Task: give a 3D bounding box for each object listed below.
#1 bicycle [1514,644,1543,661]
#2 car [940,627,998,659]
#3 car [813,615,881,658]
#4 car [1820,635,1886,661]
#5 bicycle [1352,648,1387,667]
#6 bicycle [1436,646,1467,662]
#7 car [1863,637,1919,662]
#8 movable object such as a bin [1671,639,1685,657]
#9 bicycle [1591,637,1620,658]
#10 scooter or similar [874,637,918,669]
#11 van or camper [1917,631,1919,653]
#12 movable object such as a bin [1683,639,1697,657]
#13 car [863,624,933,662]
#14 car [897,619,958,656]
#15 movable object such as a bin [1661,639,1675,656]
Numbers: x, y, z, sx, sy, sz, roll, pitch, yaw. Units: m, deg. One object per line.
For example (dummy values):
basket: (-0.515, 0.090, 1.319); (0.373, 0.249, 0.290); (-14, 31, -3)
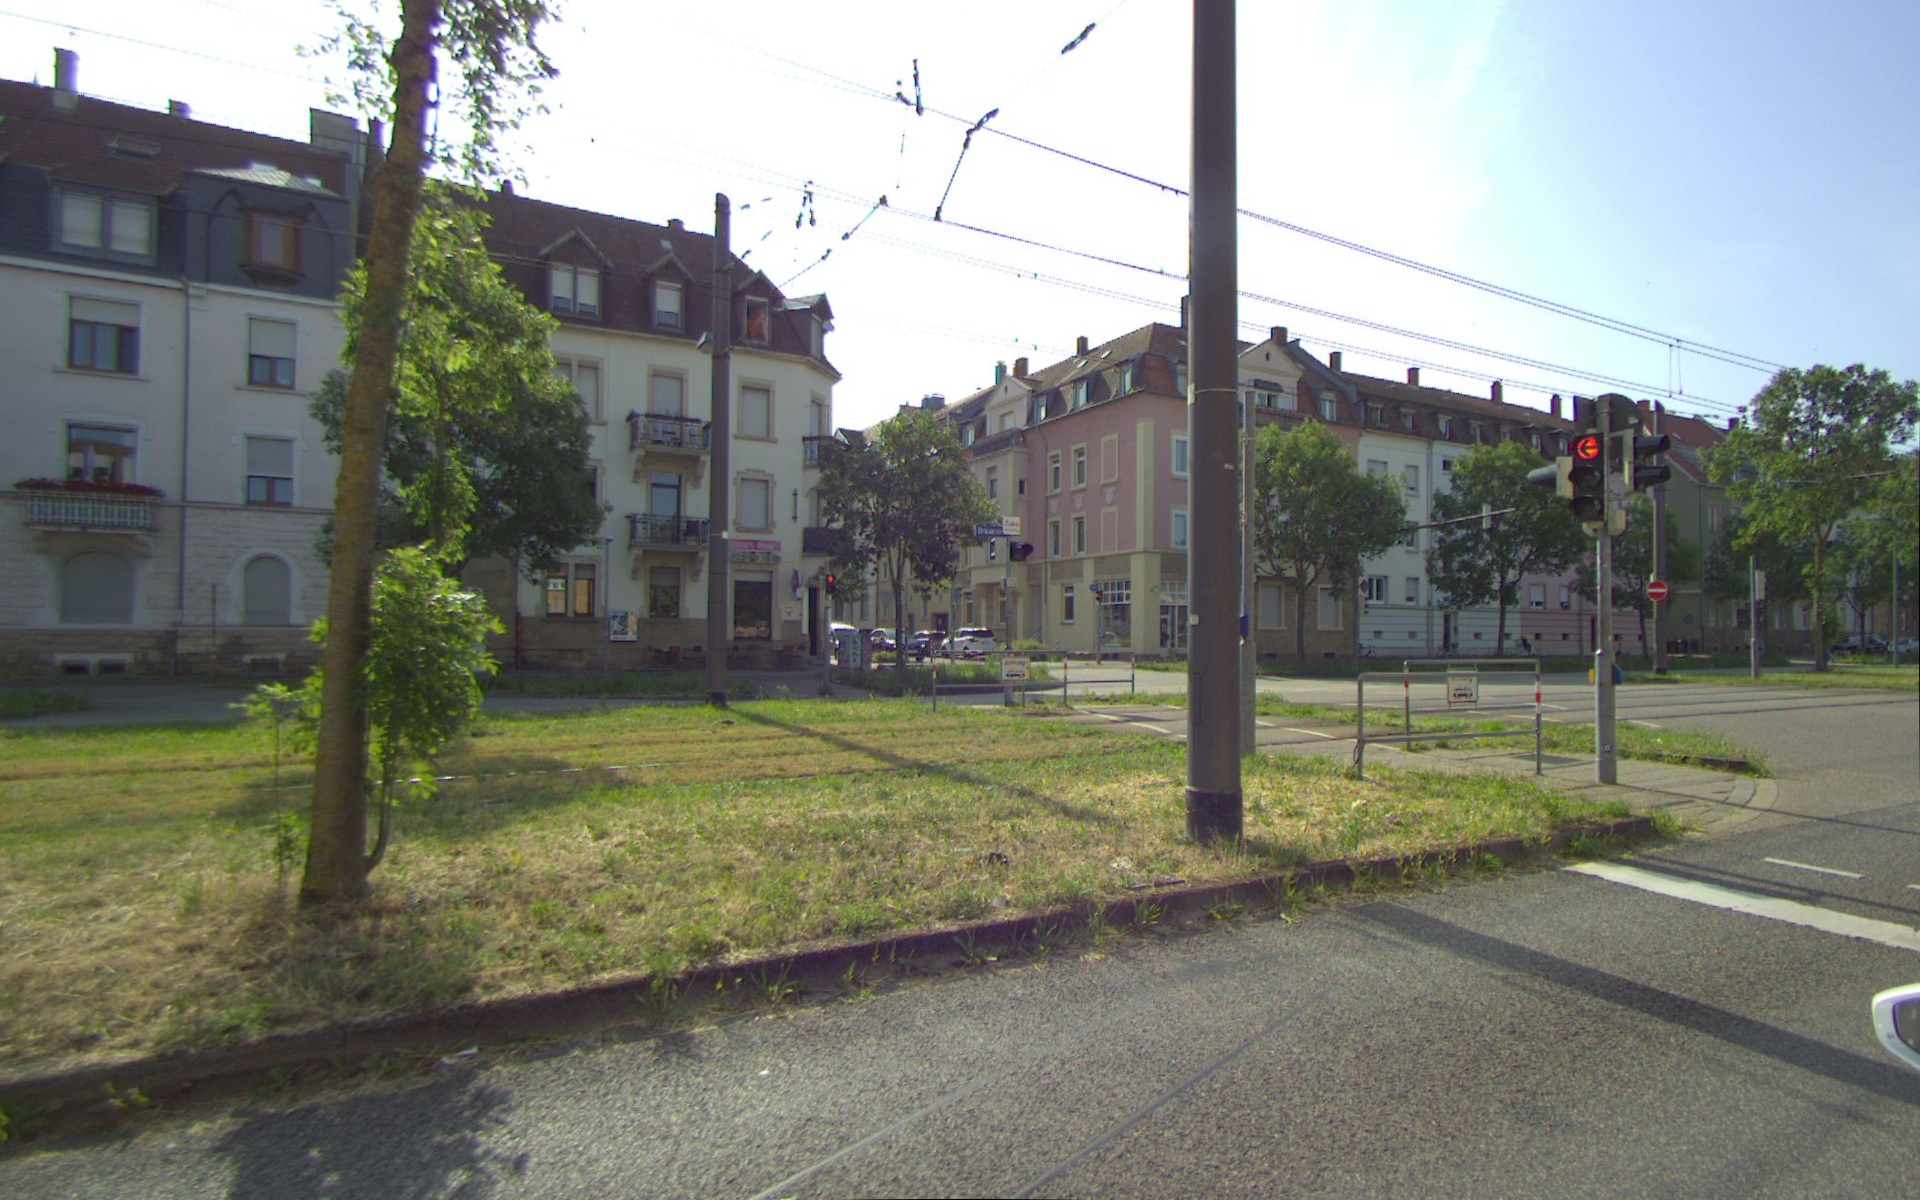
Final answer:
bicycle: (30.736, 2.848, 54.265); (1.925, 0.868, 0.445); (2, 0, -31)
car: (0.468, 2.269, 53.719); (1.552, 1.481, 3.381); (3, -1, -30)
car: (-5.507, 1.751, 48.541); (1.813, 1.874, 3.967); (2, 0, -30)
car: (60.026, 3.219, 67.520); (4.720, 1.650, 1.983); (2, 0, -31)
bicycle: (19.467, 2.732, 47.764); (1.925, 0.900, 0.465); (2, 0, -31)
bicycle: (24.977, 2.734, 51.009); (1.925, 0.799, 0.435); (2, 0, -31)
car: (65.481, 3.467, 70.409); (4.102, 1.650, 1.883); (2, 0, -26)
movable object such as a bin: (51.579, 3.432, 72.203); (0.633, 1.227, 0.582); (2, 0, -30)
bicycle: (37.236, 2.749, 57.924); (1.925, 1.143, 0.601); (2, 0, -31)
scooter or similar: (-2.287, 1.898, 36.051); (0.731, 1.083, 1.481); (2, 0, 40)
van or camper: (72.549, 3.147, 72.767); (1.962, 1.645, 4.852); (2, 0, 4)
movable object such as a bin: (52.013, 3.447, 71.608); (0.633, 1.227, 0.582); (2, 0, -30)
car: (-3.107, 2.083, 49.374); (1.813, 1.642, 3.967); (2, 0, -30)
car: (-1.919, 2.133, 57.906); (1.813, 1.874, 3.967); (2, 0, -30)
movable object such as a bin: (51.294, 3.422, 72.760); (0.633, 1.227, 0.582); (2, 0, -30)
